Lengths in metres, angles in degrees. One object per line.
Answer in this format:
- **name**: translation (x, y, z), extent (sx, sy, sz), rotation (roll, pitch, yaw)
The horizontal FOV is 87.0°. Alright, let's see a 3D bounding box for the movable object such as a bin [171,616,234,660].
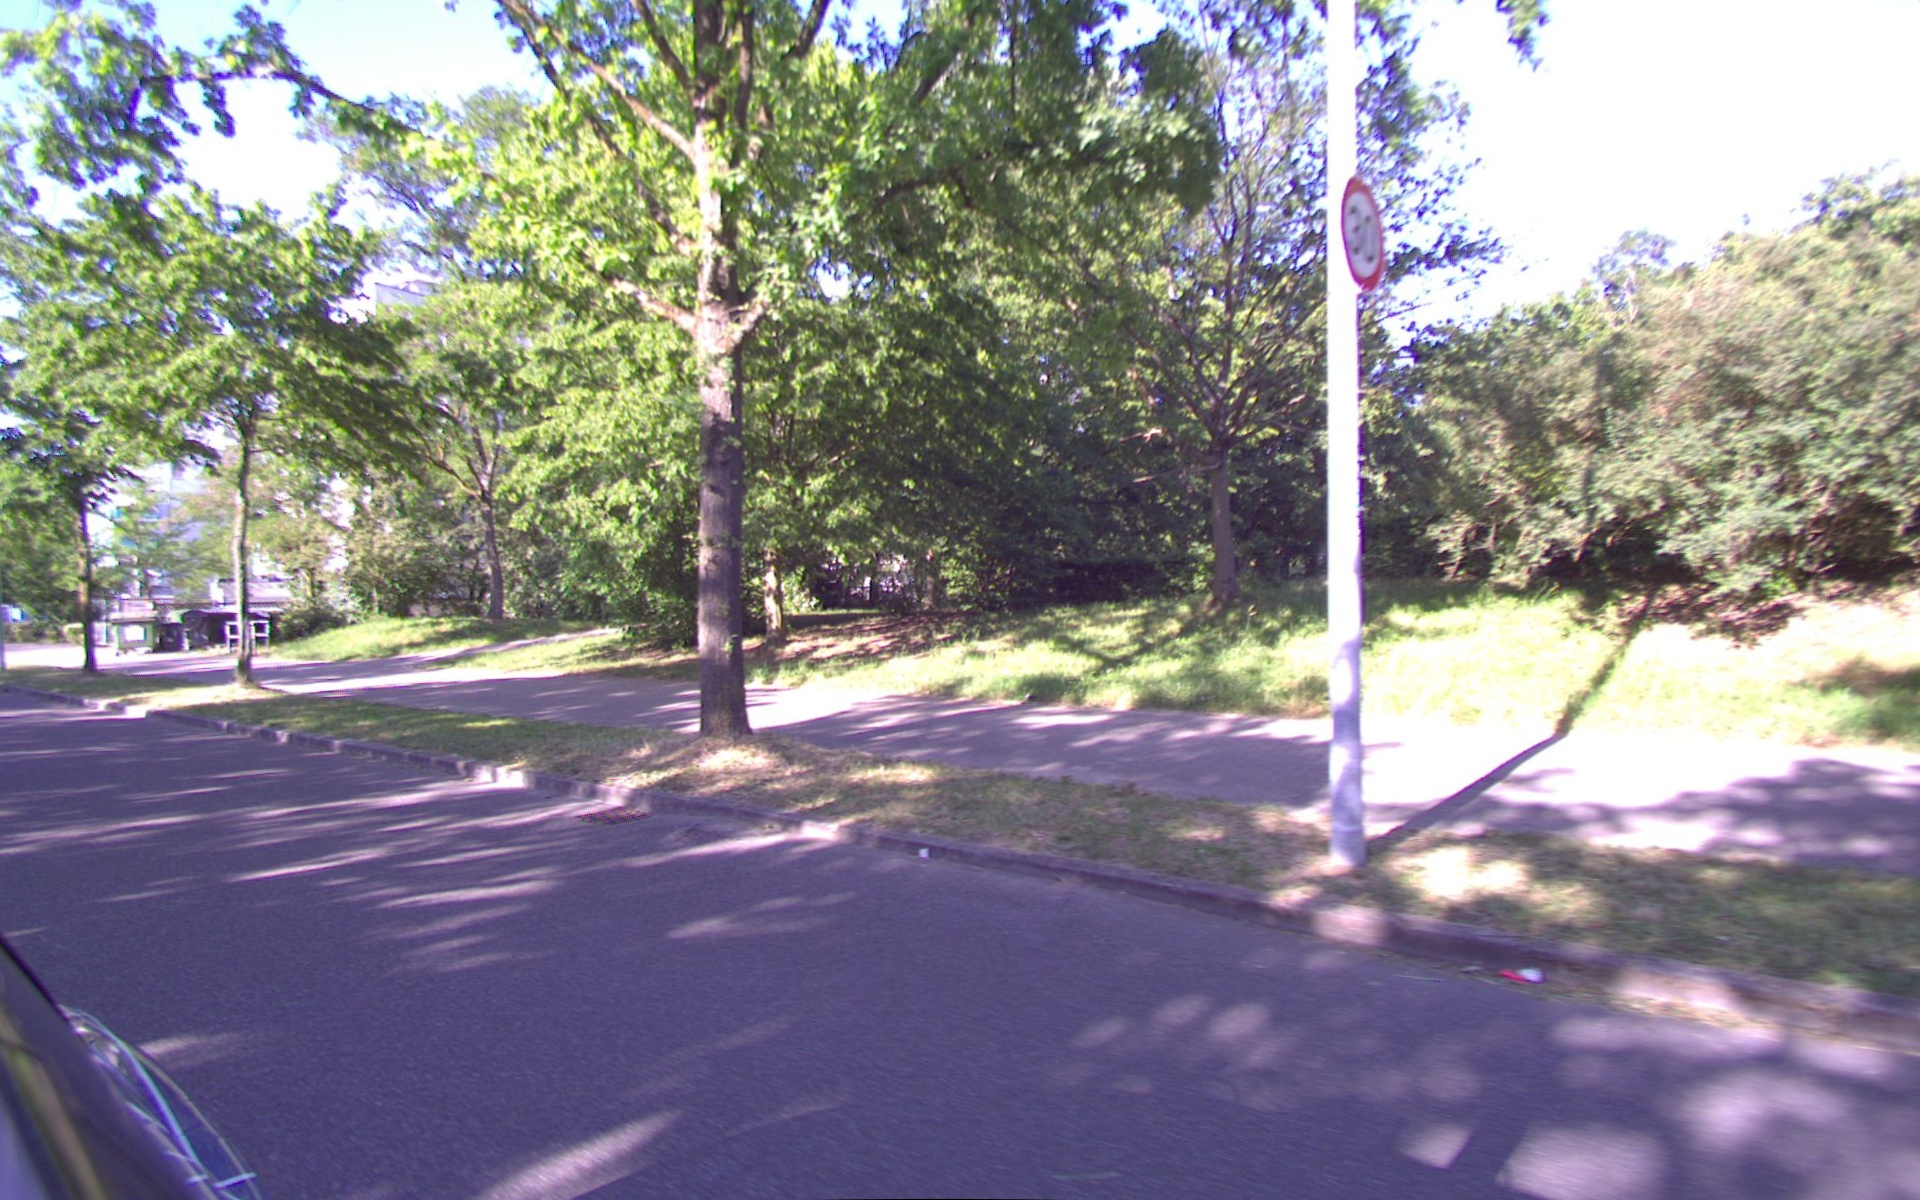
- **movable object such as a bin**: translation (-25.744, 1.293, 34.419), extent (1.257, 1.446, 1.143), rotation (-1, -1, 6)

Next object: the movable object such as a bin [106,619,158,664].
- **movable object such as a bin**: translation (-28.044, 1.399, 34.294), extent (1.252, 1.446, 1.184), rotation (-1, -1, -35)

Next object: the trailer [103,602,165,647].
- **trailer**: translation (-42.839, 1.252, 52.476), extent (4.346, 2.136, 1.844), rotation (-2, 1, 43)

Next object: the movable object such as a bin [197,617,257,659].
- **movable object such as a bin**: translation (-25.800, 1.322, 35.631), extent (1.257, 1.446, 1.143), rotation (-1, -1, 6)

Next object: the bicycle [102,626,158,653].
- **bicycle**: translation (-35.144, 1.669, 42.873), extent (0.398, 1.034, 1.845), rotation (-1, 0, 26)

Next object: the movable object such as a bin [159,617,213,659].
- **movable object such as a bin**: translation (-27.815, 1.336, 36.390), extent (1.251, 1.446, 1.330), rotation (-1, -1, -23)
